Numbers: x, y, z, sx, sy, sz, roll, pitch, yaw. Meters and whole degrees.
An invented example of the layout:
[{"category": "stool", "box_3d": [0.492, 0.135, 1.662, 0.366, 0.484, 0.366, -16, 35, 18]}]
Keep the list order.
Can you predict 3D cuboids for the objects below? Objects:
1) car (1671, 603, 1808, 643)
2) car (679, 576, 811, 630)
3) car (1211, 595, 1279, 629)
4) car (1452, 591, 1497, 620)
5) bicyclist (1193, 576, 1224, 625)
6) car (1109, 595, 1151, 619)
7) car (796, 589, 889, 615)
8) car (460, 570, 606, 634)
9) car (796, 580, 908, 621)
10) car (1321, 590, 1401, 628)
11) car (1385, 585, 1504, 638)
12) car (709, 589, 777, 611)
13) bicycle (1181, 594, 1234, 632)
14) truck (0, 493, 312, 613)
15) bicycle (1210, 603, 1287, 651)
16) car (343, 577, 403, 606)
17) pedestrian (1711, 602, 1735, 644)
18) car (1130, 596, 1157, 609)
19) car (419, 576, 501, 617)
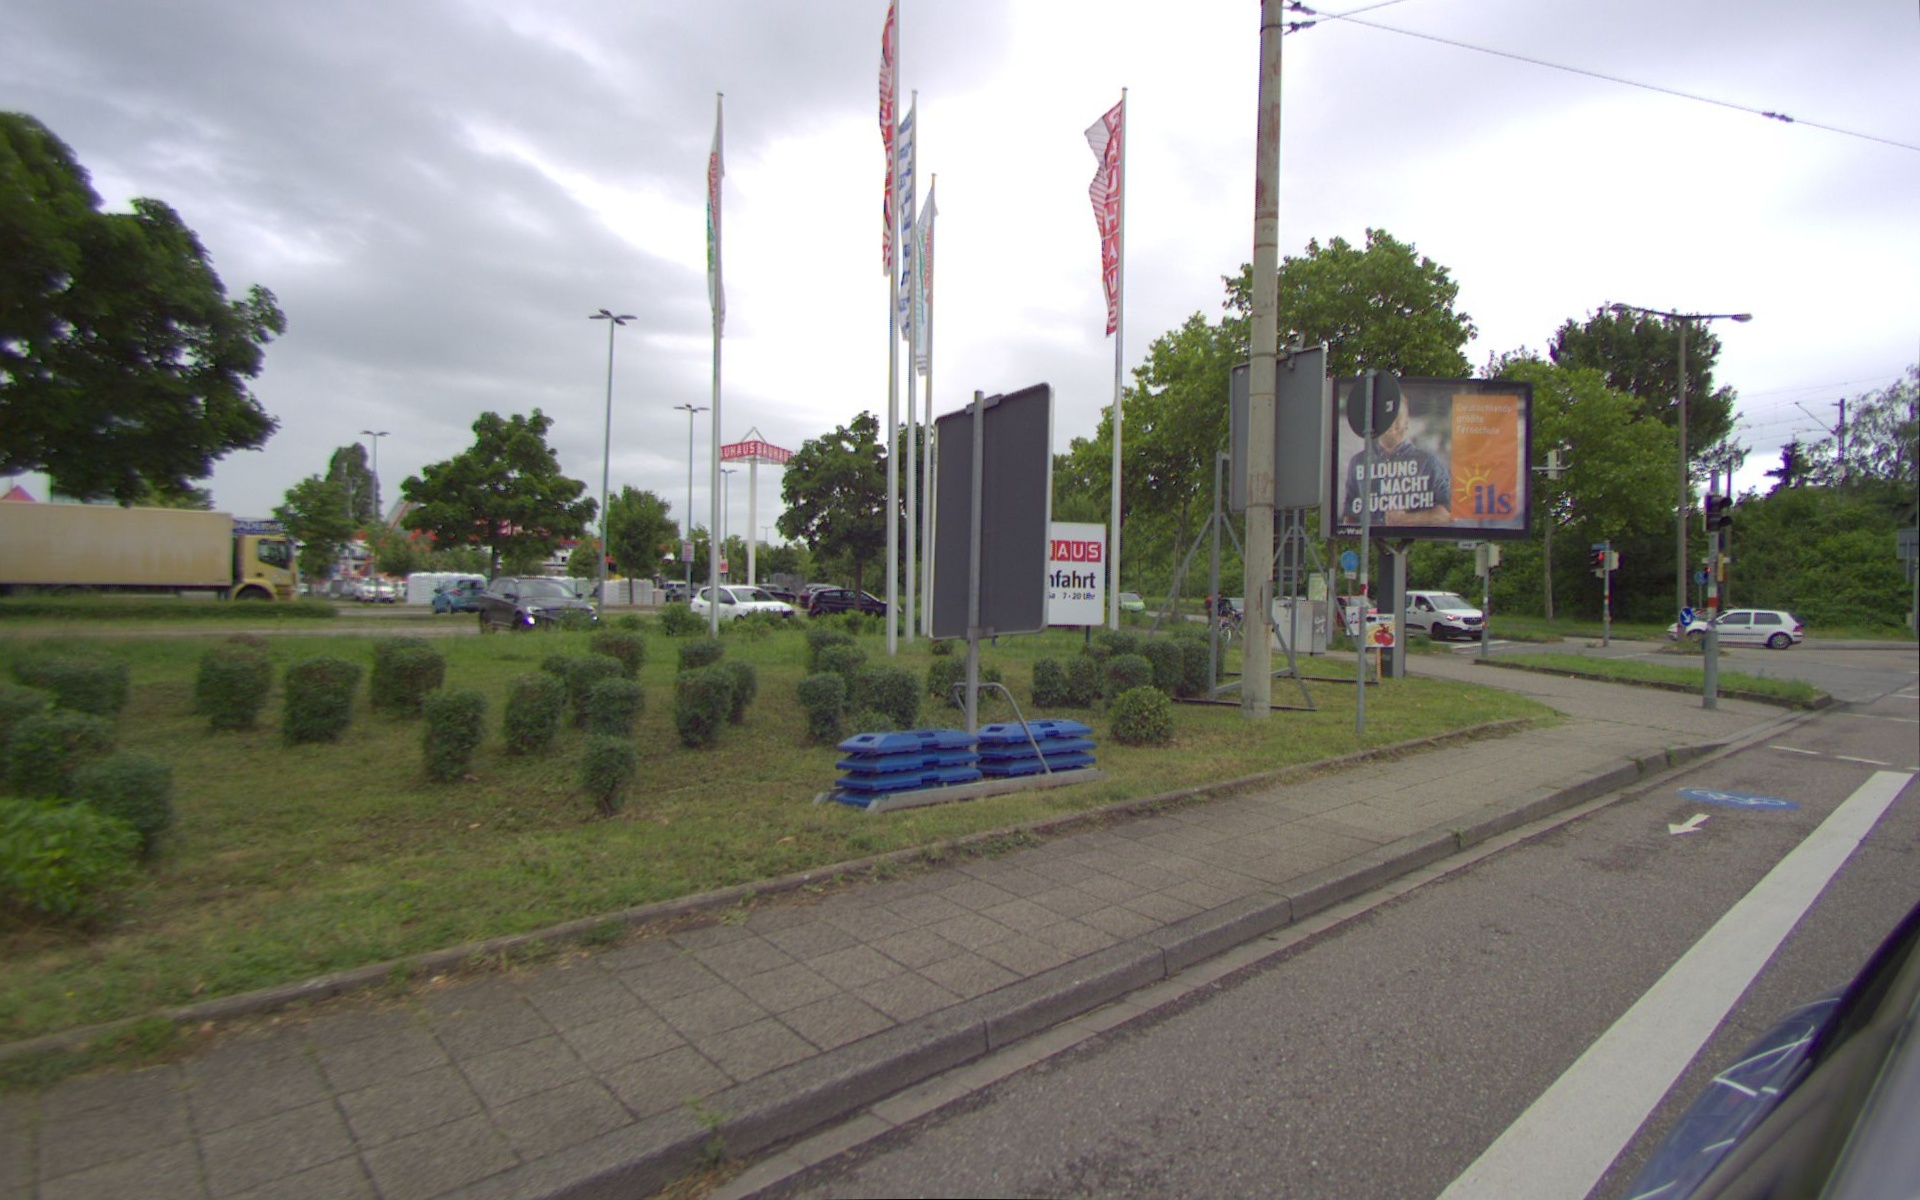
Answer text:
[{"category": "car", "box_3d": [29.315, 0.852, 38.207, 3.909, 1.442, 1.708, 0, -1, 32]}, {"category": "car", "box_3d": [-6.510, 0.106, 30.359, 4.222, 1.516, 1.900, -1, -1, 45]}, {"category": "car", "box_3d": [13.761, 0.538, 49.132, 1.662, 1.501, 4.072, 1, 1, -7]}, {"category": "car", "box_3d": [27.874, 0.292, 54.770, 1.674, 1.449, 3.726, 2, 1, 34]}, {"category": "bicyclist", "box_3d": [7.938, 0.010, 32.345, 0.570, 1.539, 0.761, 1, 0, -25]}, {"category": "car", "box_3d": [11.362, 0.471, 67.904, 1.749, 1.552, 4.004, -1, 0, -6]}, {"category": "car", "box_3d": [-7.420, 0.119, 63.548, 5.607, 1.458, 2.160, 1, 1, -11]}, {"category": "car", "box_3d": [-11.261, 0.069, 26.533, 4.598, 1.516, 1.901, -1, -1, 44]}, {"category": "car", "box_3d": [-4.157, 0.019, 38.981, 4.150, 1.516, 1.828, -1, -1, -6]}, {"category": "car", "box_3d": [17.592, 0.381, 44.561, 1.662, 1.551, 3.694, 1, 1, -7]}, {"category": "car", "box_3d": [18.264, 0.390, 38.390, 1.842, 1.851, 4.429, -1, 1, -9]}, {"category": "car", "box_3d": [-18.429, -0.007, 86.037, 5.674, 1.698, 2.134, 1, 1, 29]}, {"category": "bicycle", "box_3d": [7.904, 0.394, 32.438, 0.570, 1.163, 1.898, 1, 1, -25]}, {"category": "truck", "box_3d": [-27.481, -1.446, 34.192, 9.093, 3.609, 2.942, -1, -1, -43]}, {"category": "bicycle", "box_3d": [7.183, 0.653, 25.227, 1.778, 1.132, 0.487, 1, 0, 11]}, {"category": "car", "box_3d": [-37.374, -0.565, 64.427, 4.553, 1.698, 2.122, 2, 1, 43]}, {"category": "pedestrian", "box_3d": [30.800, 0.915, 40.838, 0.740, 1.661, 0.768, 1, 0, 38]}, {"category": "car", "box_3d": [18.524, 0.223, 102.306, 1.619, 1.297, 3.424, 0, -1, -8]}, {"category": "car", "box_3d": [-20.580, -0.173, 41.550, 1.953, 1.525, 4.562, 0, 1, -41]}]
